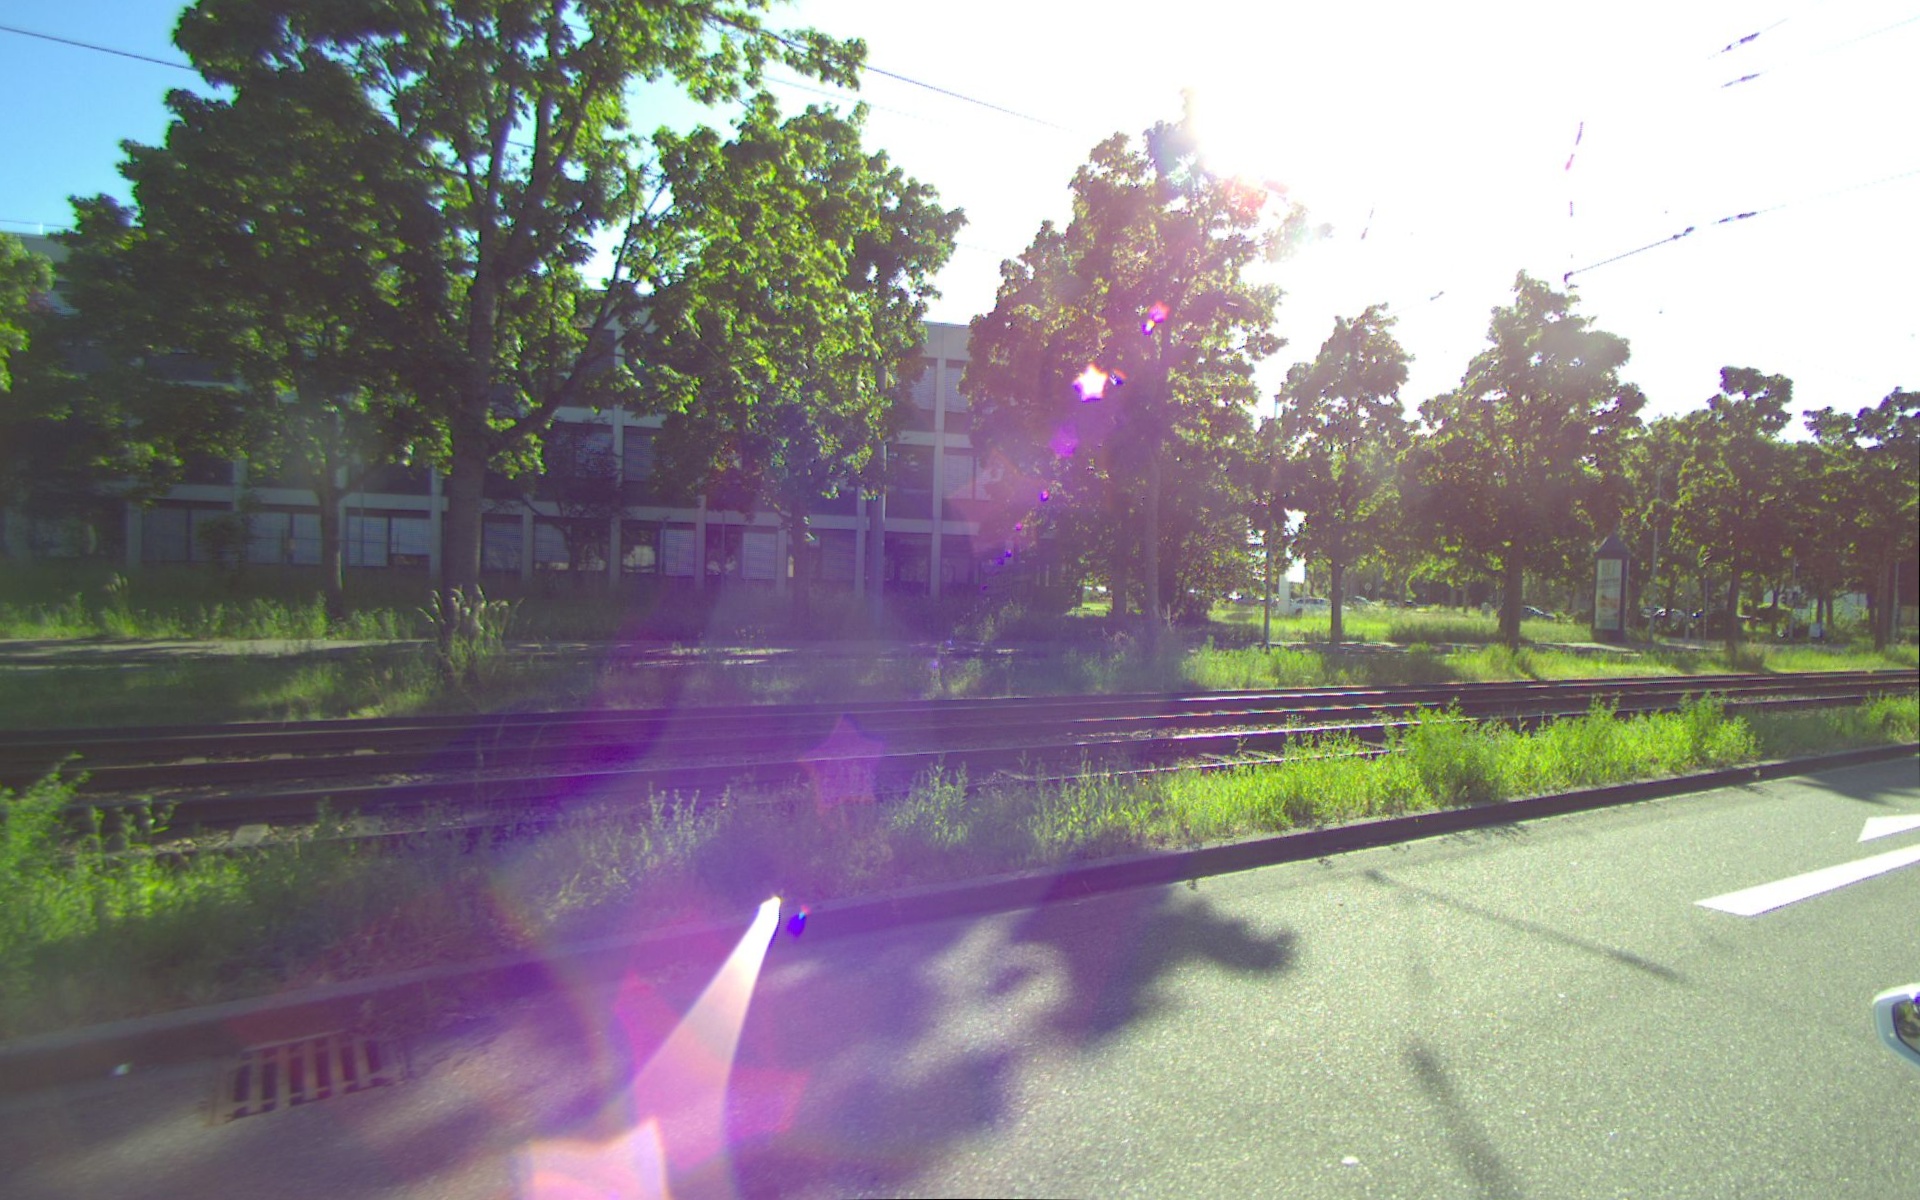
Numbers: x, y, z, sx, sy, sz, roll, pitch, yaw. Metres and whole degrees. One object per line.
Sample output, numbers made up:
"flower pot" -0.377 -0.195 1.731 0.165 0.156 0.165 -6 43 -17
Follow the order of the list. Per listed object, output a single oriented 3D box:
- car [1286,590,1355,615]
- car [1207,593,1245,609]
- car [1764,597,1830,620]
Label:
"car" 26.544 0.189 74.104 4.364 1.662 1.981 2 1 40
"car" 30.708 0.095 116.061 1.815 1.690 3.955 1 2 -39
"car" 85.106 0.862 102.198 1.999 2.119 4.694 1 1 -32
